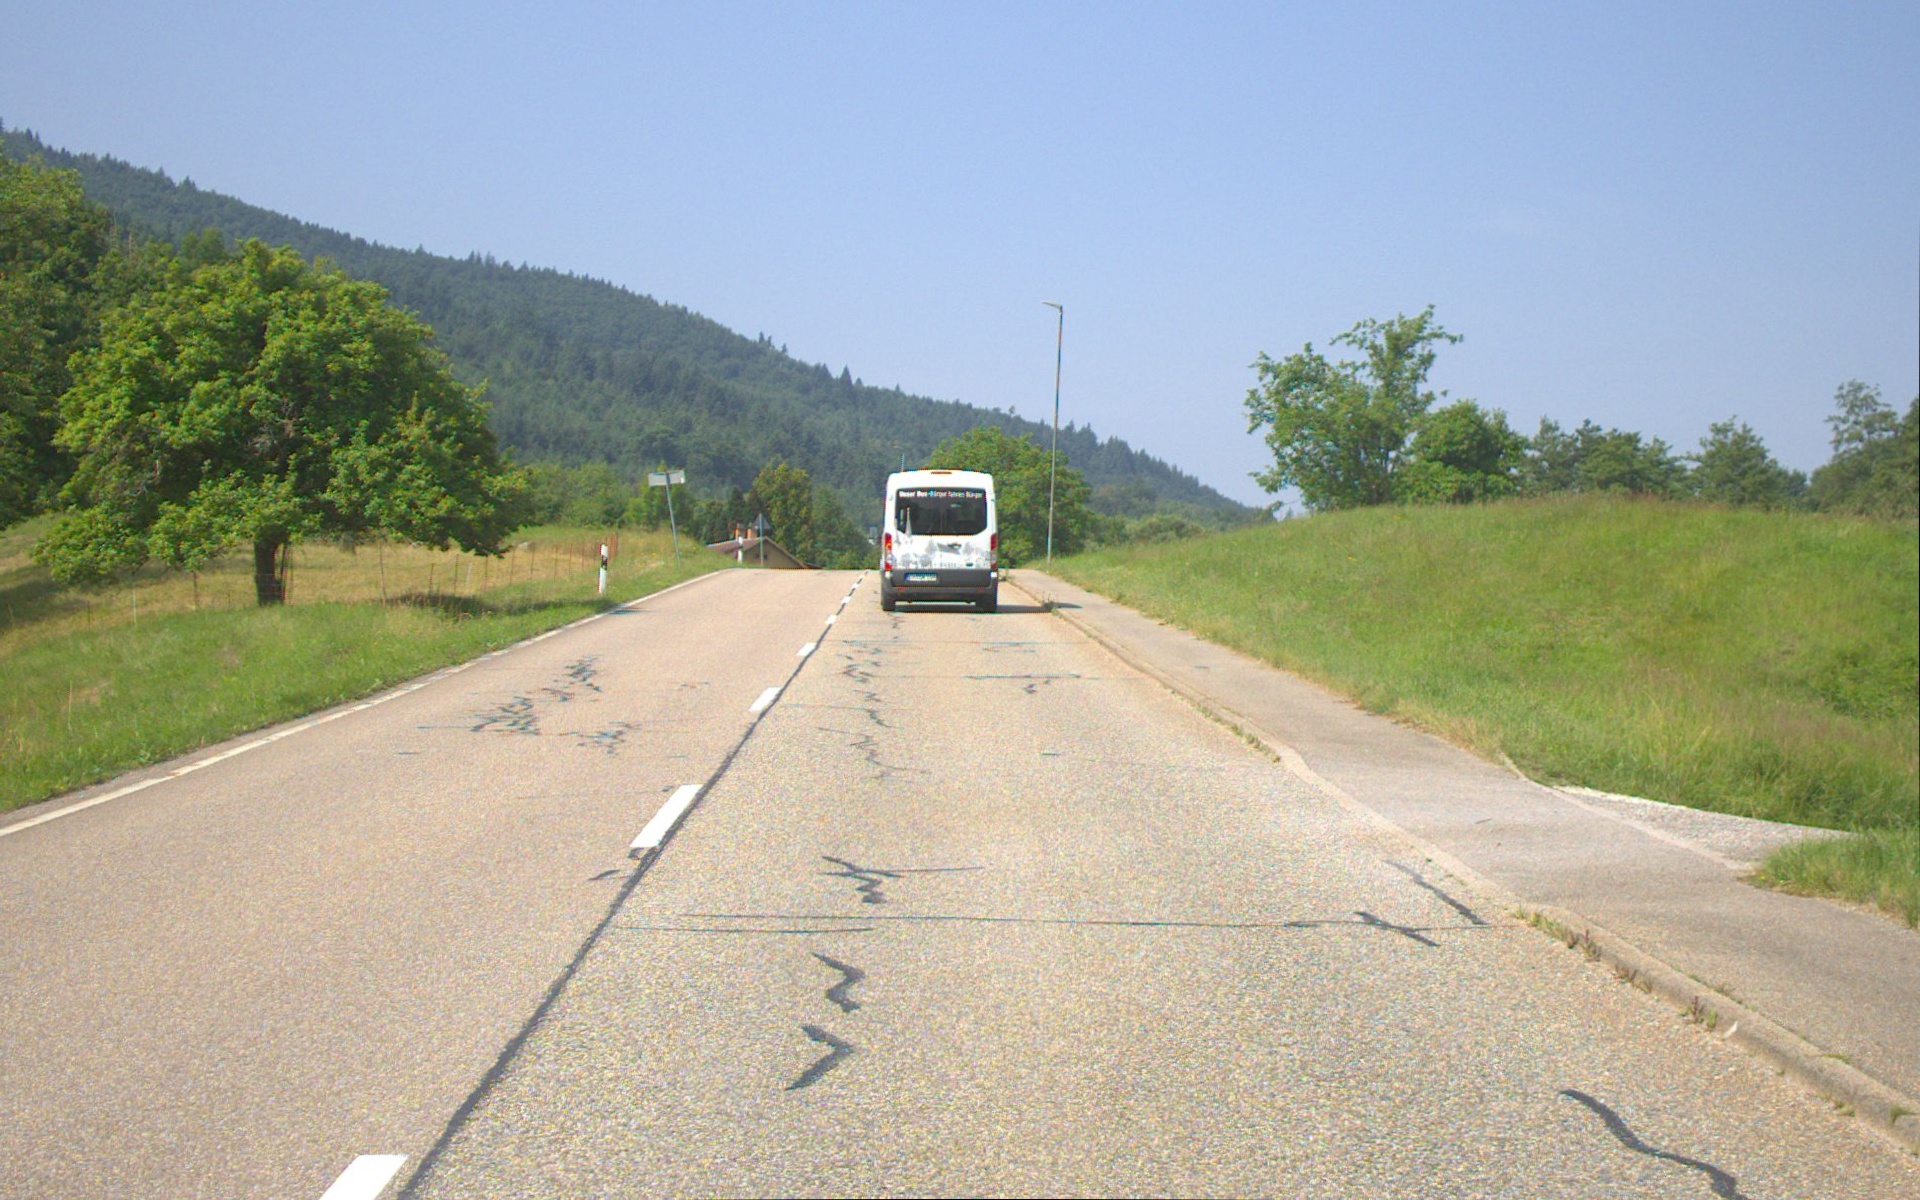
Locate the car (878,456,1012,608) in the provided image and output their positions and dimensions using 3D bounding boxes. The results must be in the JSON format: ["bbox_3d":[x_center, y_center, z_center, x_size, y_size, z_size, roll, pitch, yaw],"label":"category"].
[{"bbox_3d":[-0.293,-1.161,61.284,2.222,2.517,4.984,-2,-1,-1],"label":"car"}]
